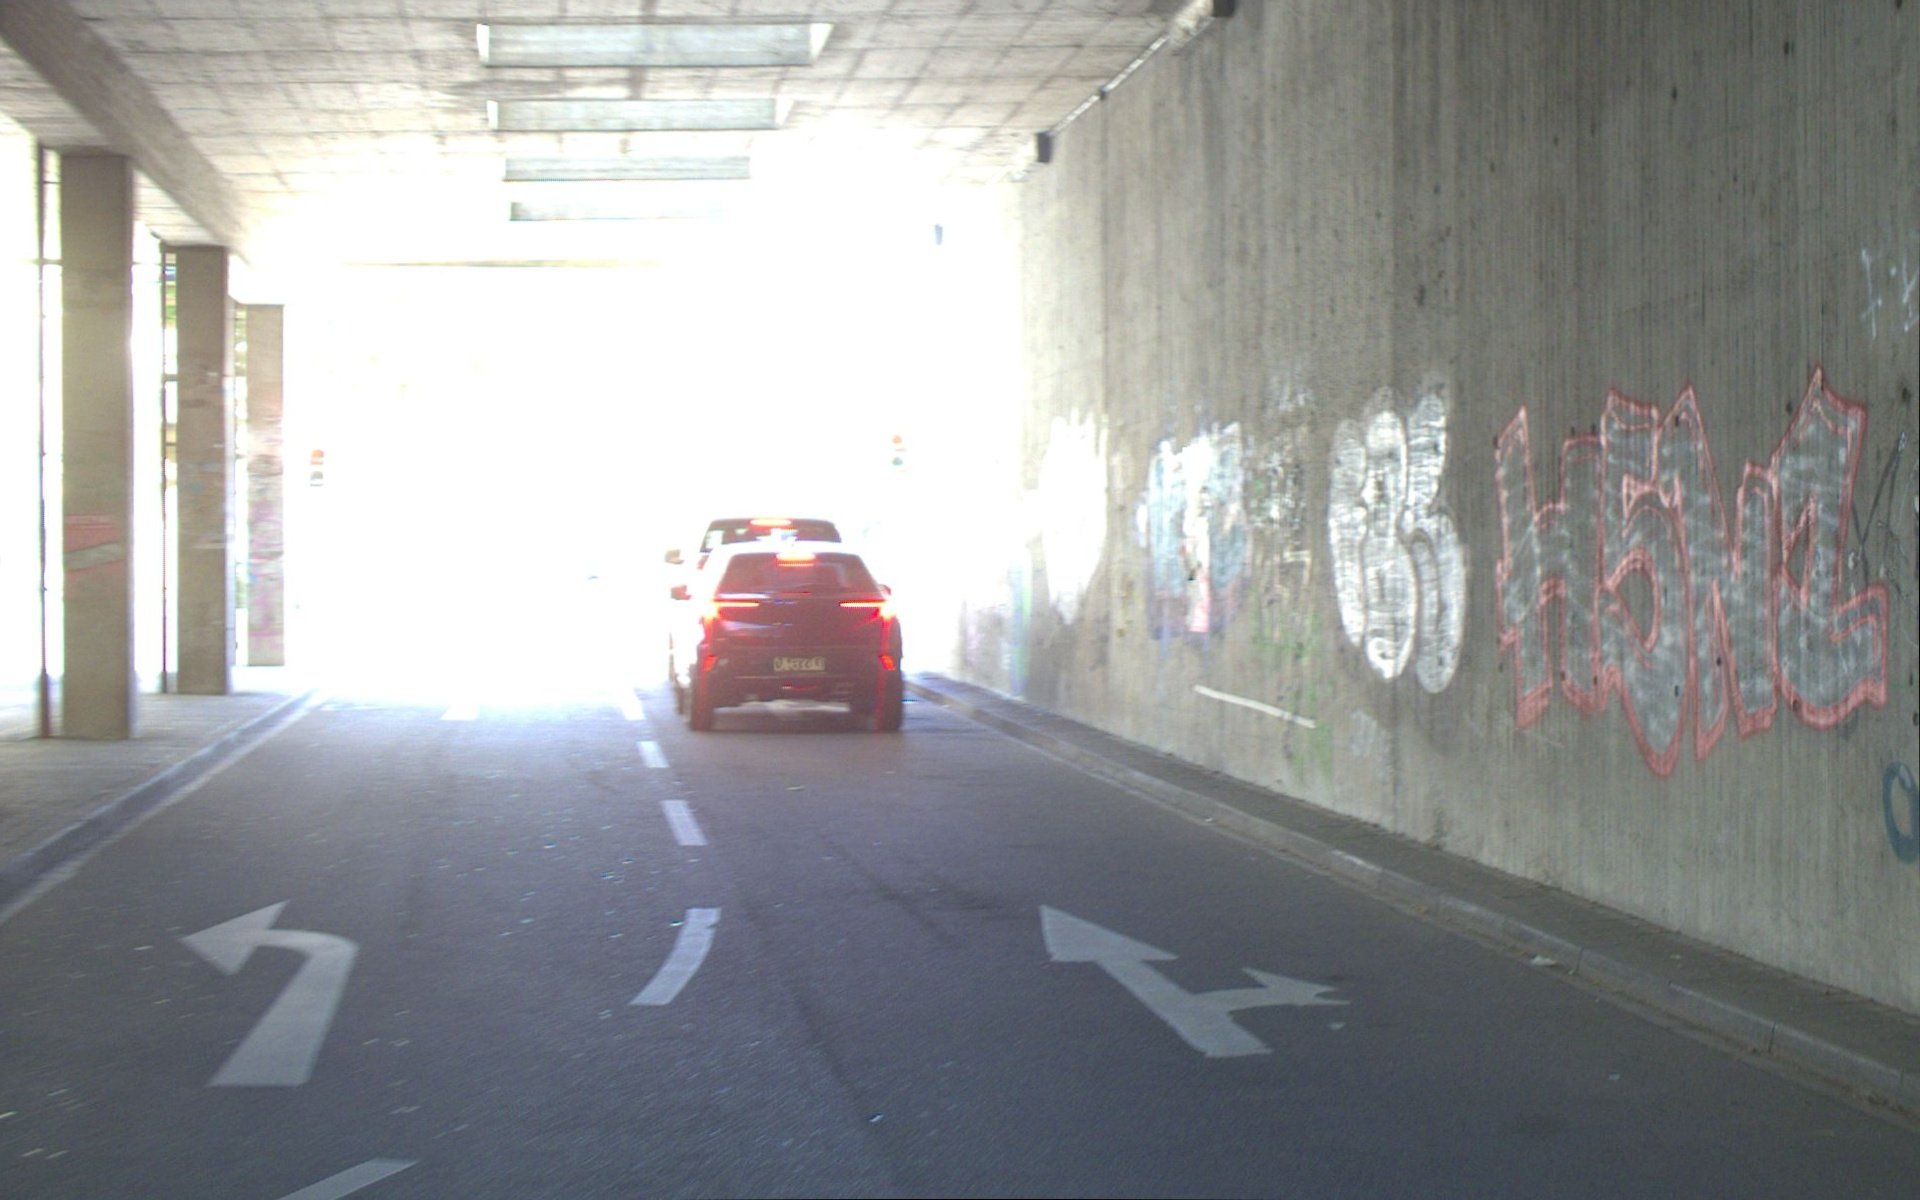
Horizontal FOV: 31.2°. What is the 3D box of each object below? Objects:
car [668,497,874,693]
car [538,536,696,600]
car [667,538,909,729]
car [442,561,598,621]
[{"bbox_3d":[-2.015,-0.096,35.504,1.815,1.876,4.587,-1,1,-7],"label":"car"},{"bbox_3d":[-9.529,-0.896,95.736,4.151,1.733,2.000,0,1,1],"label":"car"},{"bbox_3d":[-1.535,0.225,29.308,1.826,1.496,4.212,0,1,-6],"label":"car"},{"bbox_3d":[-11.674,-0.247,91.351,3.986,1.568,1.640,0,0,-2],"label":"car"}]
